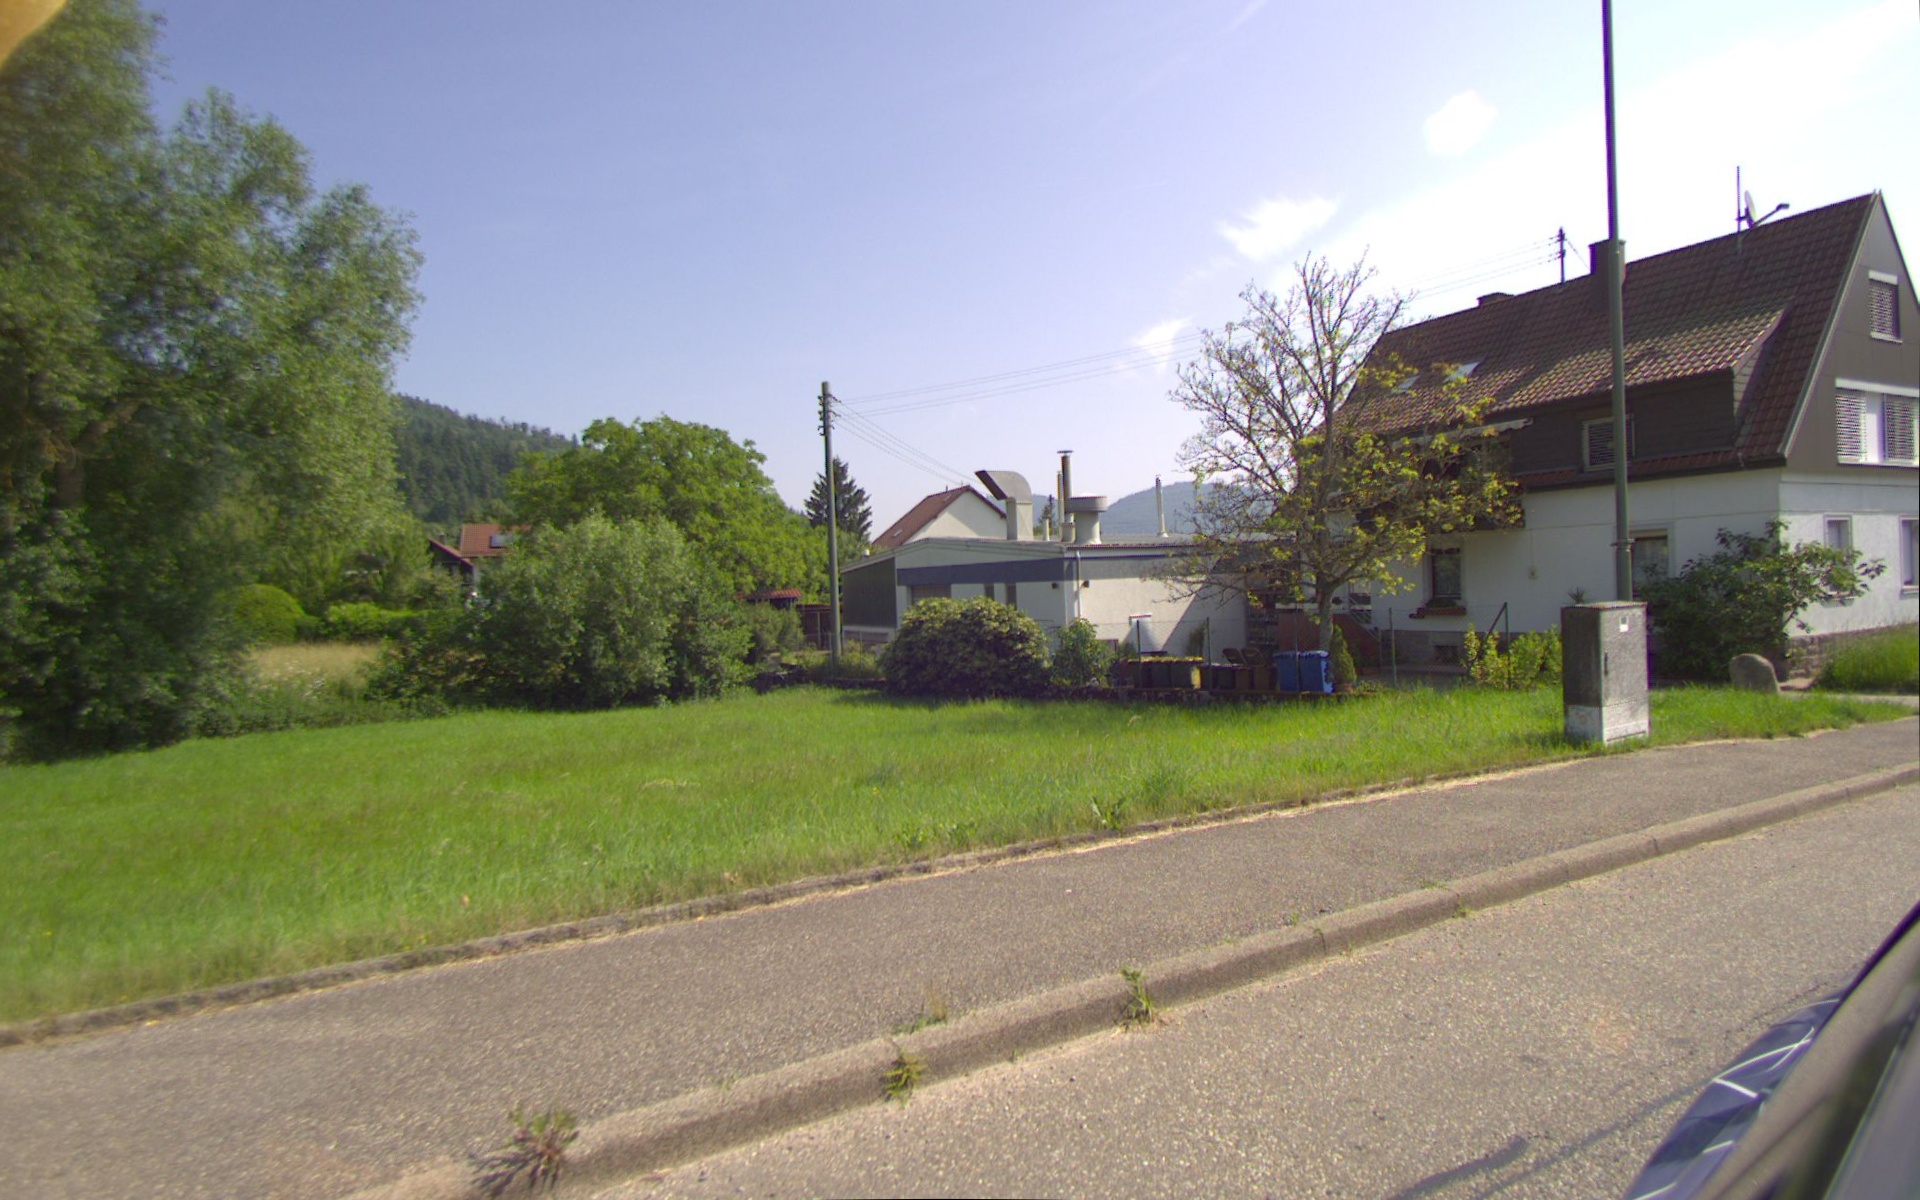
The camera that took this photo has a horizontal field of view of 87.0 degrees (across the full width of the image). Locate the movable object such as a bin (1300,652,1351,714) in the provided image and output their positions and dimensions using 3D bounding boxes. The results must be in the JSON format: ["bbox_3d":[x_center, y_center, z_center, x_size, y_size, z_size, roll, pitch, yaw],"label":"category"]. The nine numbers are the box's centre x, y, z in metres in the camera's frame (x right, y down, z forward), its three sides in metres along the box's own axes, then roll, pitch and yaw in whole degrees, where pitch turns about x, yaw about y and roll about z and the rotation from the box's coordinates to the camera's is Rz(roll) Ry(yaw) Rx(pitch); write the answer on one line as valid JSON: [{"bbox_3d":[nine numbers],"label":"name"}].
[{"bbox_3d":[7.118,1.595,19.720,0.779,1.133,0.569,-1,-2,-40],"label":"movable object such as a bin"}]

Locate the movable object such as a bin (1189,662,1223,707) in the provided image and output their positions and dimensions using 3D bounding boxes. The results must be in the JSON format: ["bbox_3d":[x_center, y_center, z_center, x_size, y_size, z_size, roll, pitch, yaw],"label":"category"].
[{"bbox_3d":[5.314,1.821,21.887,0.576,0.911,0.419,-1,-2,-40],"label":"movable object such as a bin"}]

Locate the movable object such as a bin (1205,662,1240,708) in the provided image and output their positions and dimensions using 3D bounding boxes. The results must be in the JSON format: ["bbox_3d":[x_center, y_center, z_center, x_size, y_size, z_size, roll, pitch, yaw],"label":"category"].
[{"bbox_3d":[5.585,1.804,21.550,0.576,0.911,0.419,-1,-2,-40],"label":"movable object such as a bin"}]

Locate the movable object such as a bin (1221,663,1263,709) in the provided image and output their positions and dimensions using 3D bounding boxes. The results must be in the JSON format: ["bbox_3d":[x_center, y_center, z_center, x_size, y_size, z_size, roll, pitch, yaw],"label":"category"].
[{"bbox_3d":[5.895,1.784,21.155,0.576,0.911,0.569,-1,-2,-40],"label":"movable object such as a bin"}]

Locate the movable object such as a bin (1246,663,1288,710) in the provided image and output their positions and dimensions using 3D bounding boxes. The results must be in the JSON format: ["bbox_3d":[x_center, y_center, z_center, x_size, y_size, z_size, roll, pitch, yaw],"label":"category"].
[{"bbox_3d":[6.275,1.760,20.705,0.576,0.911,0.569,-1,-2,-40],"label":"movable object such as a bin"}]

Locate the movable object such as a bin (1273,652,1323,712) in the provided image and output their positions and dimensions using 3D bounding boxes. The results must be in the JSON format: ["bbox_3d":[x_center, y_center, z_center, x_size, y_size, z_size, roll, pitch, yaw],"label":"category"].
[{"bbox_3d":[6.735,1.620,20.173,0.784,1.133,0.569,-1,-2,-40],"label":"movable object such as a bin"}]
